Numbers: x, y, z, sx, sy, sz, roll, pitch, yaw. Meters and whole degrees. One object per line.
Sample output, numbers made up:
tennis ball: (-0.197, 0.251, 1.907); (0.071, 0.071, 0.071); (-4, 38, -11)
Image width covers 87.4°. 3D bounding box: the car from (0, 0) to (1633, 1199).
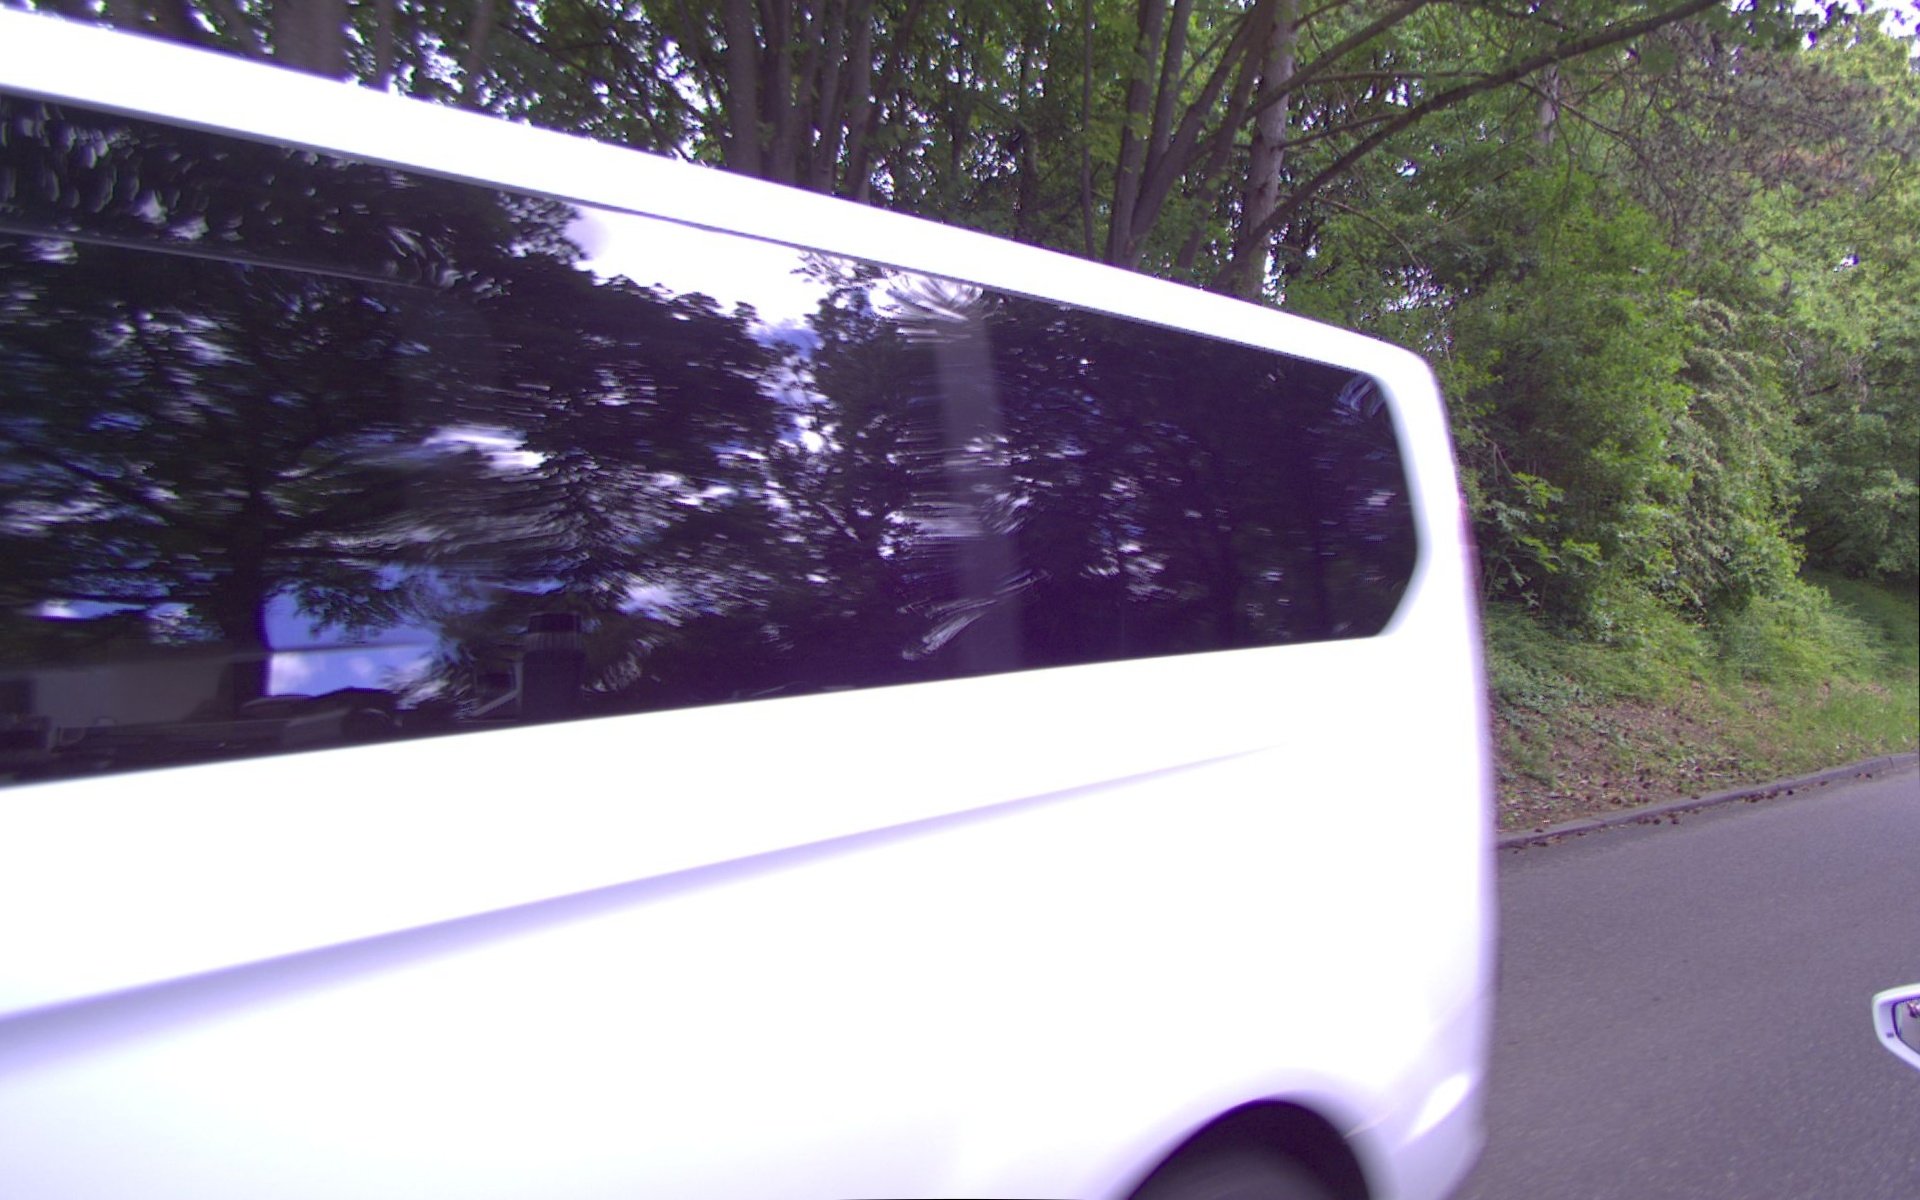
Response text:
car: (-1.151, 0.432, 1.507); (4.453, 2.011, 1.936); (1, 1, -33)
